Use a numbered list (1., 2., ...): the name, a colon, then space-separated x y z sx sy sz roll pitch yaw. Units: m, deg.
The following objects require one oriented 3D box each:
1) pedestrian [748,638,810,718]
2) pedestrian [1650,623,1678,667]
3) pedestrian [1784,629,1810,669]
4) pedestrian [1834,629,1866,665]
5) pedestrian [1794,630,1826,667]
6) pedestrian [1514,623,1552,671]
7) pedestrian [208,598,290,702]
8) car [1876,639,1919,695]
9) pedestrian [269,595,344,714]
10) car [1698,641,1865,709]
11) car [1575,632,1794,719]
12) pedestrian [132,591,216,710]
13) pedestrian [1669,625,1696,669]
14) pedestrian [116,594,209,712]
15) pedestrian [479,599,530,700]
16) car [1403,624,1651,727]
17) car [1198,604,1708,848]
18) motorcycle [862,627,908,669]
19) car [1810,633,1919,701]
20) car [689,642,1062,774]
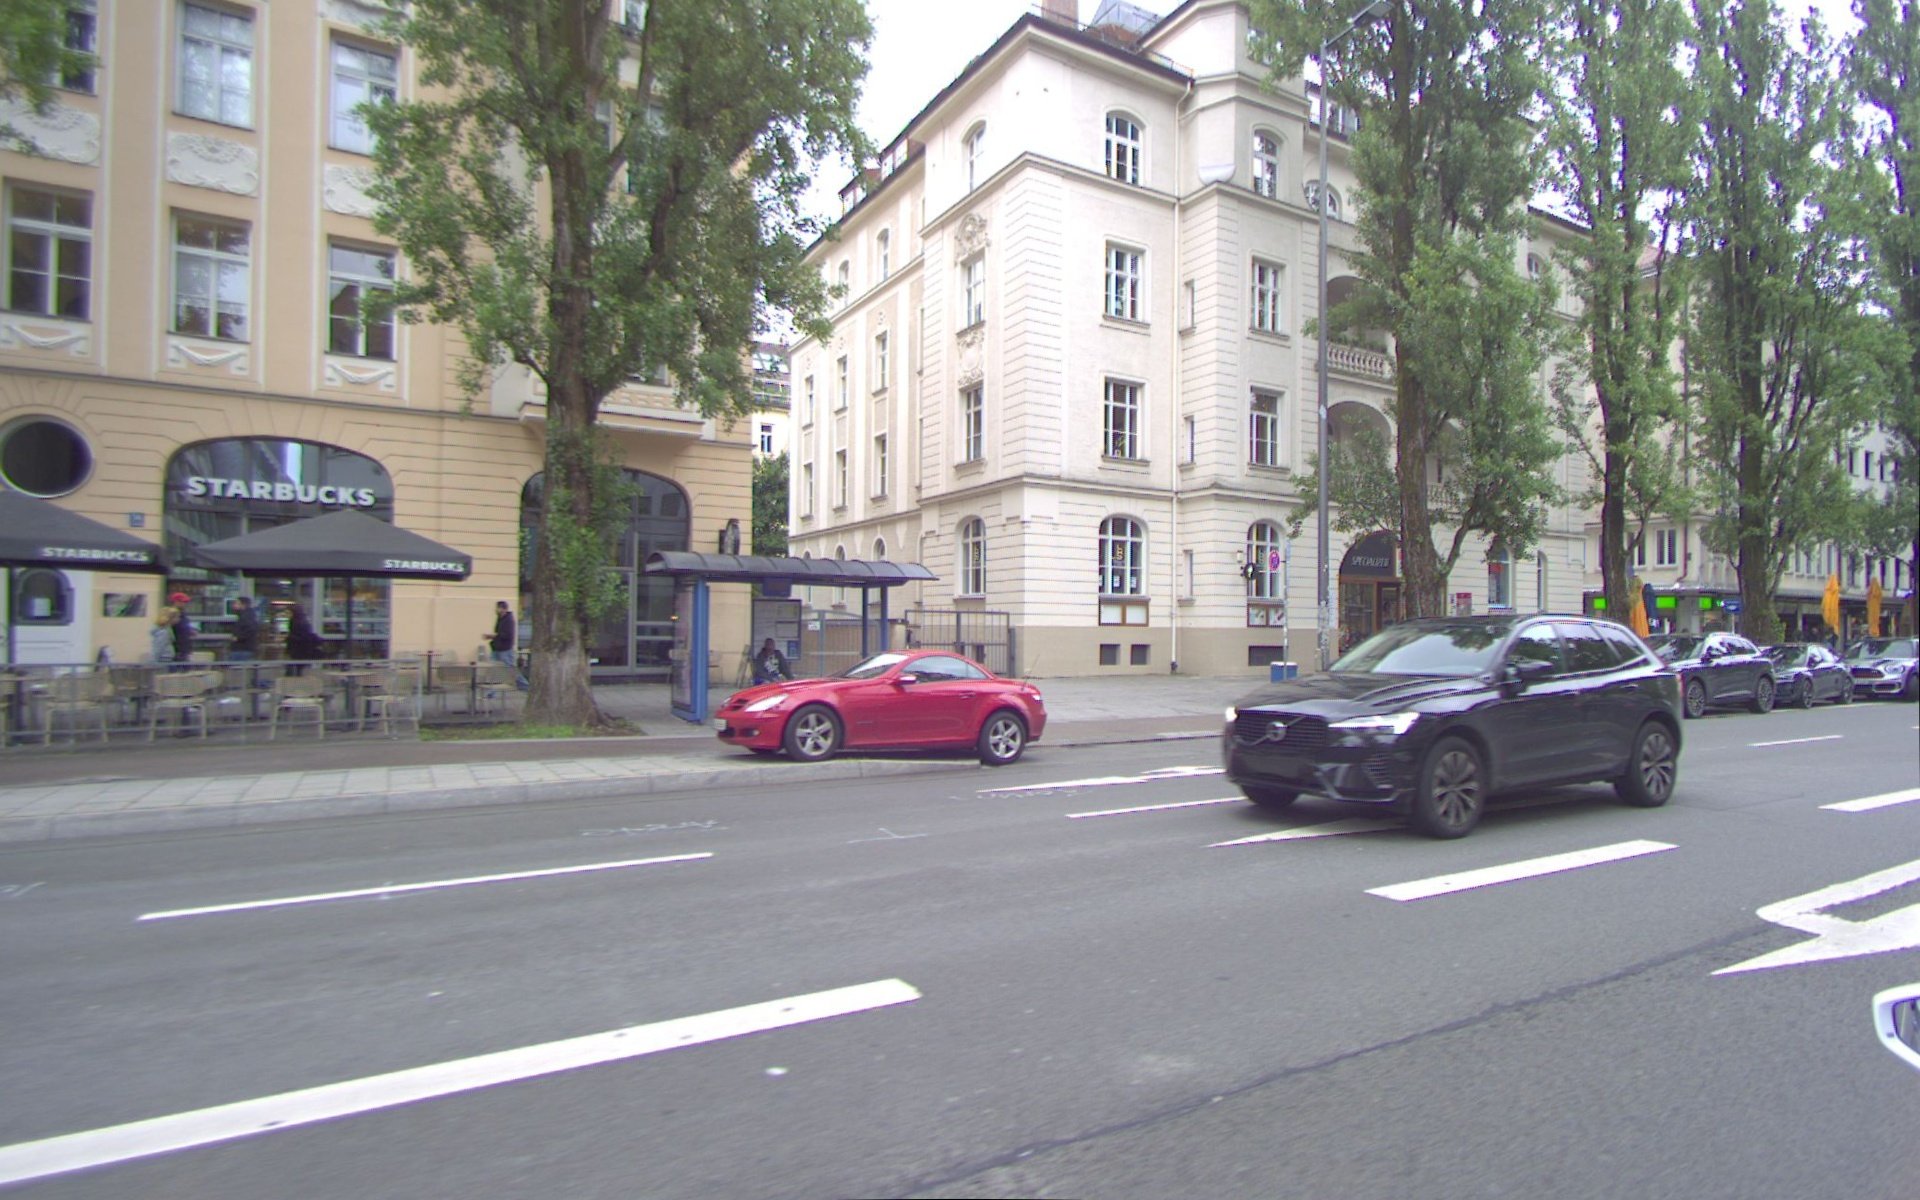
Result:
1. pedestrian: -3.045 1.281 16.846 0.747 1.273 0.957 1 -1 -28
2. pedestrian: 28.600 1.820 40.802 0.817 1.744 0.622 1 -2 -31
3. pedestrian: 37.533 2.184 45.028 0.816 1.744 0.623 1 -2 -27
4. pedestrian: 43.358 2.282 48.927 1.134 1.767 0.848 1 -1 -29
5. pedestrian: 41.972 2.395 49.596 1.134 1.767 0.848 1 -1 -29
6. pedestrian: 19.038 1.550 33.380 0.795 1.558 0.765 2 0 -30
7. pedestrian: -12.155 0.829 17.213 0.977 1.707 1.077 2 0 -28
8. car: 28.041 1.885 28.558 4.260 1.524 1.657 1 -4 -29
9. pedestrian: -10.066 0.818 15.497 0.809 1.767 0.903 1 -1 -24
10. car: 19.126 1.688 23.328 4.638 1.442 1.675 2 -4 -34
11. car: 14.954 1.491 20.696 4.571 1.615 1.797 1 -3 -27
12. pedestrian: -12.326 0.770 15.781 0.901 1.811 0.796 1 0 -30
13. pedestrian: 28.948 1.894 40.246 0.817 1.744 0.622 1 -2 -31
14. pedestrian: -11.932 0.776 15.067 0.966 1.704 0.728 1 0 -30
15. pedestrian: -8.282 0.888 18.279 0.809 1.767 0.903 1 -1 -24
16. car: 10.276 1.282 18.122 4.660 1.639 1.811 1 -1 -30
17. car: 4.336 0.940 8.723 4.286 1.644 1.926 1 -3 -30
18. motorcycle: -2.566 1.616 34.306 0.631 1.390 2.390 1 -1 -29
19. car: 23.630 1.646 25.595 4.084 1.596 1.774 1 -1 -30
20. car: -0.973 1.169 11.989 4.046 1.315 1.870 1 -2 -30
